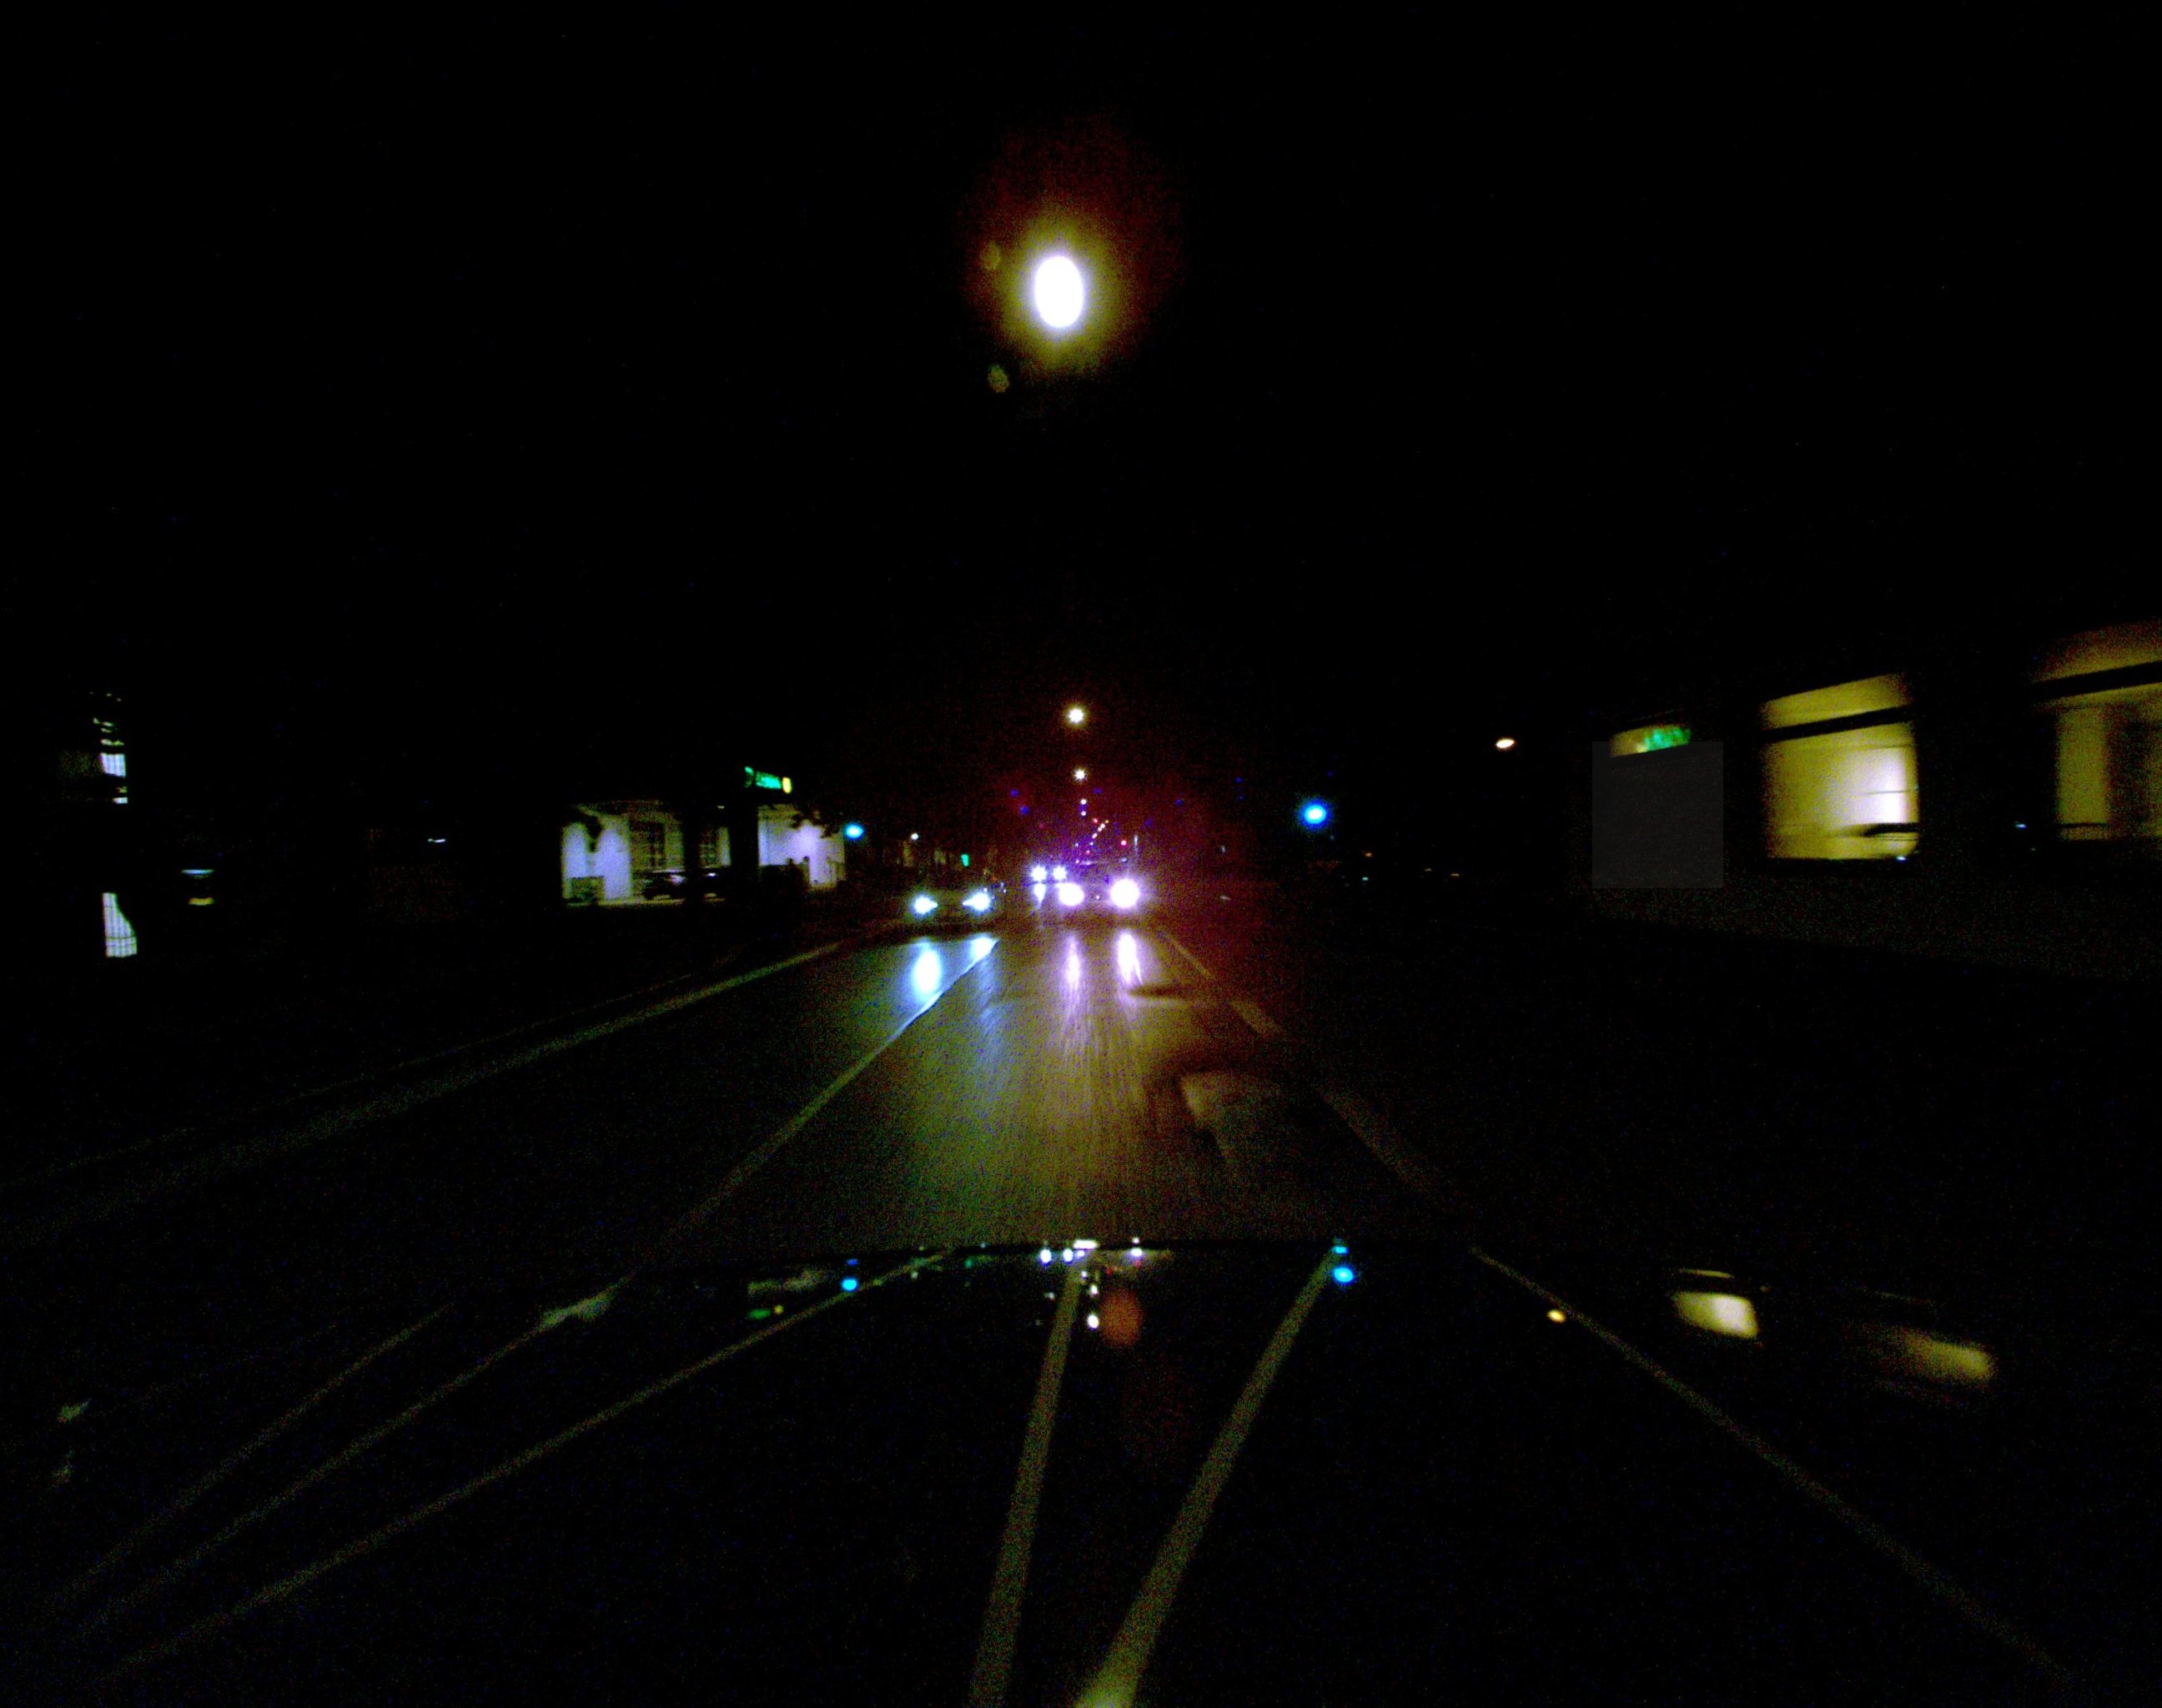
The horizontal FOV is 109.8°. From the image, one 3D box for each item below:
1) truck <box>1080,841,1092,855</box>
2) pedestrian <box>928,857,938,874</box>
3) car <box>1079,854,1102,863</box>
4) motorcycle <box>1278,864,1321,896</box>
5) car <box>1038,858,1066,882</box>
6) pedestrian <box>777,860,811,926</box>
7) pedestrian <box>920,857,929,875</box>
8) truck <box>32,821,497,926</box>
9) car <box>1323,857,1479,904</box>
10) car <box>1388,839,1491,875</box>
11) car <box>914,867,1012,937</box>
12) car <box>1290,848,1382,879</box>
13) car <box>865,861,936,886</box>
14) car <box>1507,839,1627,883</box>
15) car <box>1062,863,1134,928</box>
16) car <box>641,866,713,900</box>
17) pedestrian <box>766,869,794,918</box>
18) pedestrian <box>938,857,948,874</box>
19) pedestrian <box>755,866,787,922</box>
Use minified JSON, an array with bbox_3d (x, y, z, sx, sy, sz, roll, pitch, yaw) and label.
[{"bbox_3d":[1.671,-2.108,256.785,3.516,4.558,9.039,-3,1,0],"label":"truck"},{"bbox_3d":[-15.264,1.199,78.472,0.721,1.778,0.970,-1,1,1],"label":"pedestrian"},{"bbox_3d":[1.455,0.654,117.548,1.616,1.259,3.634,-3,0,41],"label":"car"},{"bbox_3d":[8.397,0.985,29.270,0.574,1.173,2.029,-2,0,-16],"label":"motorcycle"},{"bbox_3d":[-1.949,1.053,51.439,1.729,1.455,3.999,-1,1,0],"label":"car"},{"bbox_3d":[-8.102,1.091,21.469,0.623,1.800,0.759,-2,1,1],"label":"pedestrian"},{"bbox_3d":[-16.100,1.266,78.345,0.675,1.806,0.906,-1,1,1],"label":"pedestrian"},{"bbox_3d":[-35.426,0.811,33.438,16.821,3.961,3.131,-2,1,0],"label":"truck"},{"bbox_3d":[10.800,0.837,26.035,1.896,1.416,4.718,-1,0,-31],"label":"car"},{"bbox_3d":[20.993,0.176,44.622,5.001,1.879,2.028,-2,0,-1],"label":"car"},{"bbox_3d":[-2.909,1.145,19.677,1.729,1.421,4.498,-3,0,1],"label":"car"},{"bbox_3d":[14.863,0.537,44.382,4.672,1.619,2.003,-1,1,-1],"label":"car"},{"bbox_3d":[-11.413,1.216,48.239,4.092,1.446,1.786,-1,1,0],"label":"car"},{"bbox_3d":[22.731,0.293,35.681,4.349,1.744,1.956,-3,2,3],"label":"car"},{"bbox_3d":[0.459,0.987,19.373,1.634,1.430,3.840,-1,0,2],"label":"car"},{"bbox_3d":[-21.490,1.520,40.621,1.731,1.587,3.999,-1,1,-1],"label":"car"},{"bbox_3d":[-9.549,1.251,24.138,0.574,1.525,0.633,-2,1,1],"label":"pedestrian"},{"bbox_3d":[-14.243,1.199,78.410,0.737,1.707,0.985,-1,1,1],"label":"pedestrian"},{"bbox_3d":[-9.344,1.201,22.938,0.622,1.629,0.679,-2,1,1],"label":"pedestrian"}]
